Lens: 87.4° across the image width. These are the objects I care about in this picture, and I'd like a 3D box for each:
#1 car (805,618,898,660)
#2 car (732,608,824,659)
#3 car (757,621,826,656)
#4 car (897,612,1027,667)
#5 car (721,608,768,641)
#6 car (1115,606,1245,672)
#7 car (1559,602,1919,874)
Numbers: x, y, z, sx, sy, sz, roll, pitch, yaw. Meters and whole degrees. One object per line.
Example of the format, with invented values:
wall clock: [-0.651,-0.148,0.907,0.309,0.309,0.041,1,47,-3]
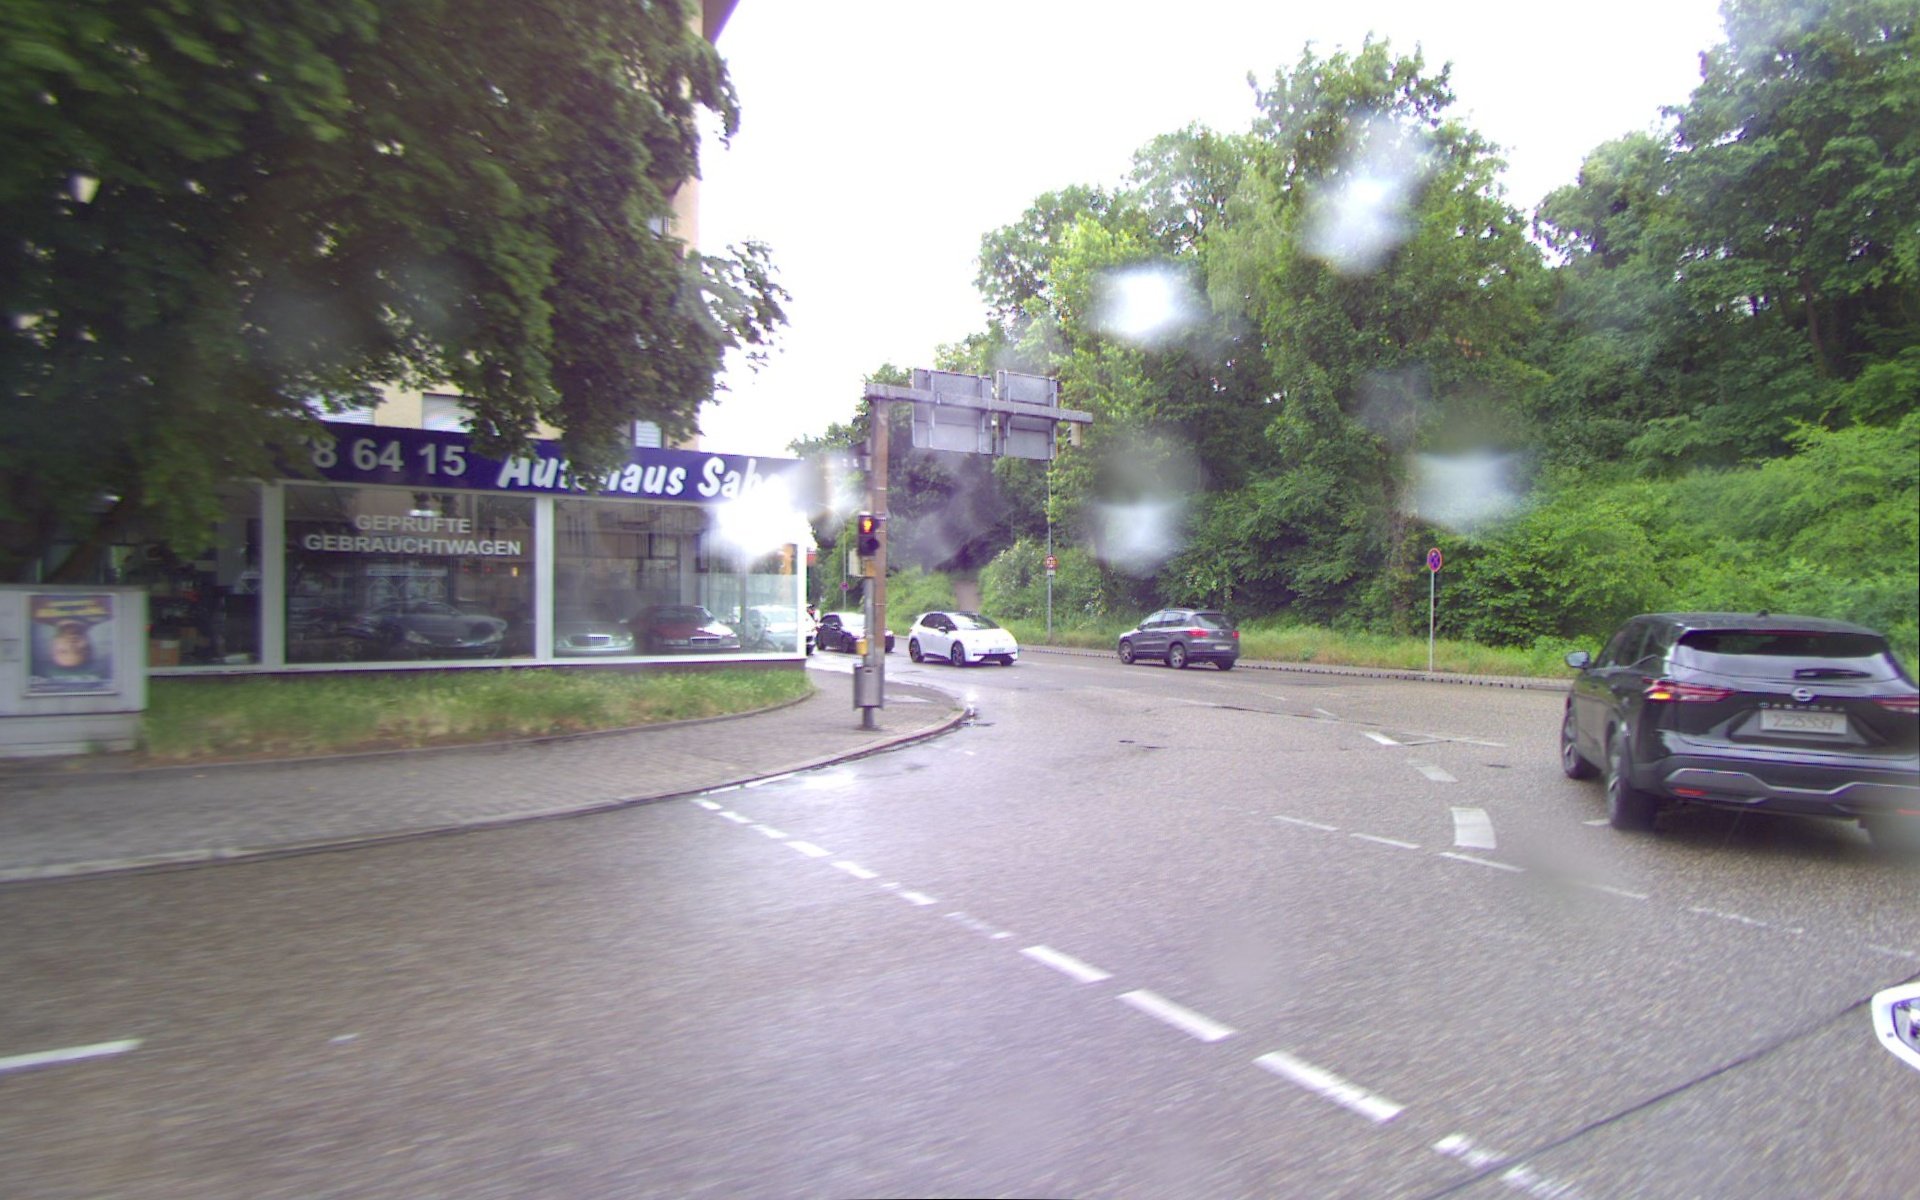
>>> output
car: [-4.096,1.410,37.239,1.739,1.386,4.596,-2,0,-29]
car: [-6.727,1.173,36.672,1.912,1.668,4.596,-2,0,-29]
car: [-7.428,1.633,43.974,1.737,1.386,4.601,-2,0,-26]
car: [-0.041,1.124,30.077,1.912,1.459,4.596,-2,0,-29]
car: [-11.960,1.311,55.551,1.970,1.740,3.981,0,0,-21]
car: [6.215,1.051,28.852,1.789,1.624,3.981,0,2,-20]
car: [6.084,0.866,8.088,1.783,1.624,3.997,0,-1,25]
